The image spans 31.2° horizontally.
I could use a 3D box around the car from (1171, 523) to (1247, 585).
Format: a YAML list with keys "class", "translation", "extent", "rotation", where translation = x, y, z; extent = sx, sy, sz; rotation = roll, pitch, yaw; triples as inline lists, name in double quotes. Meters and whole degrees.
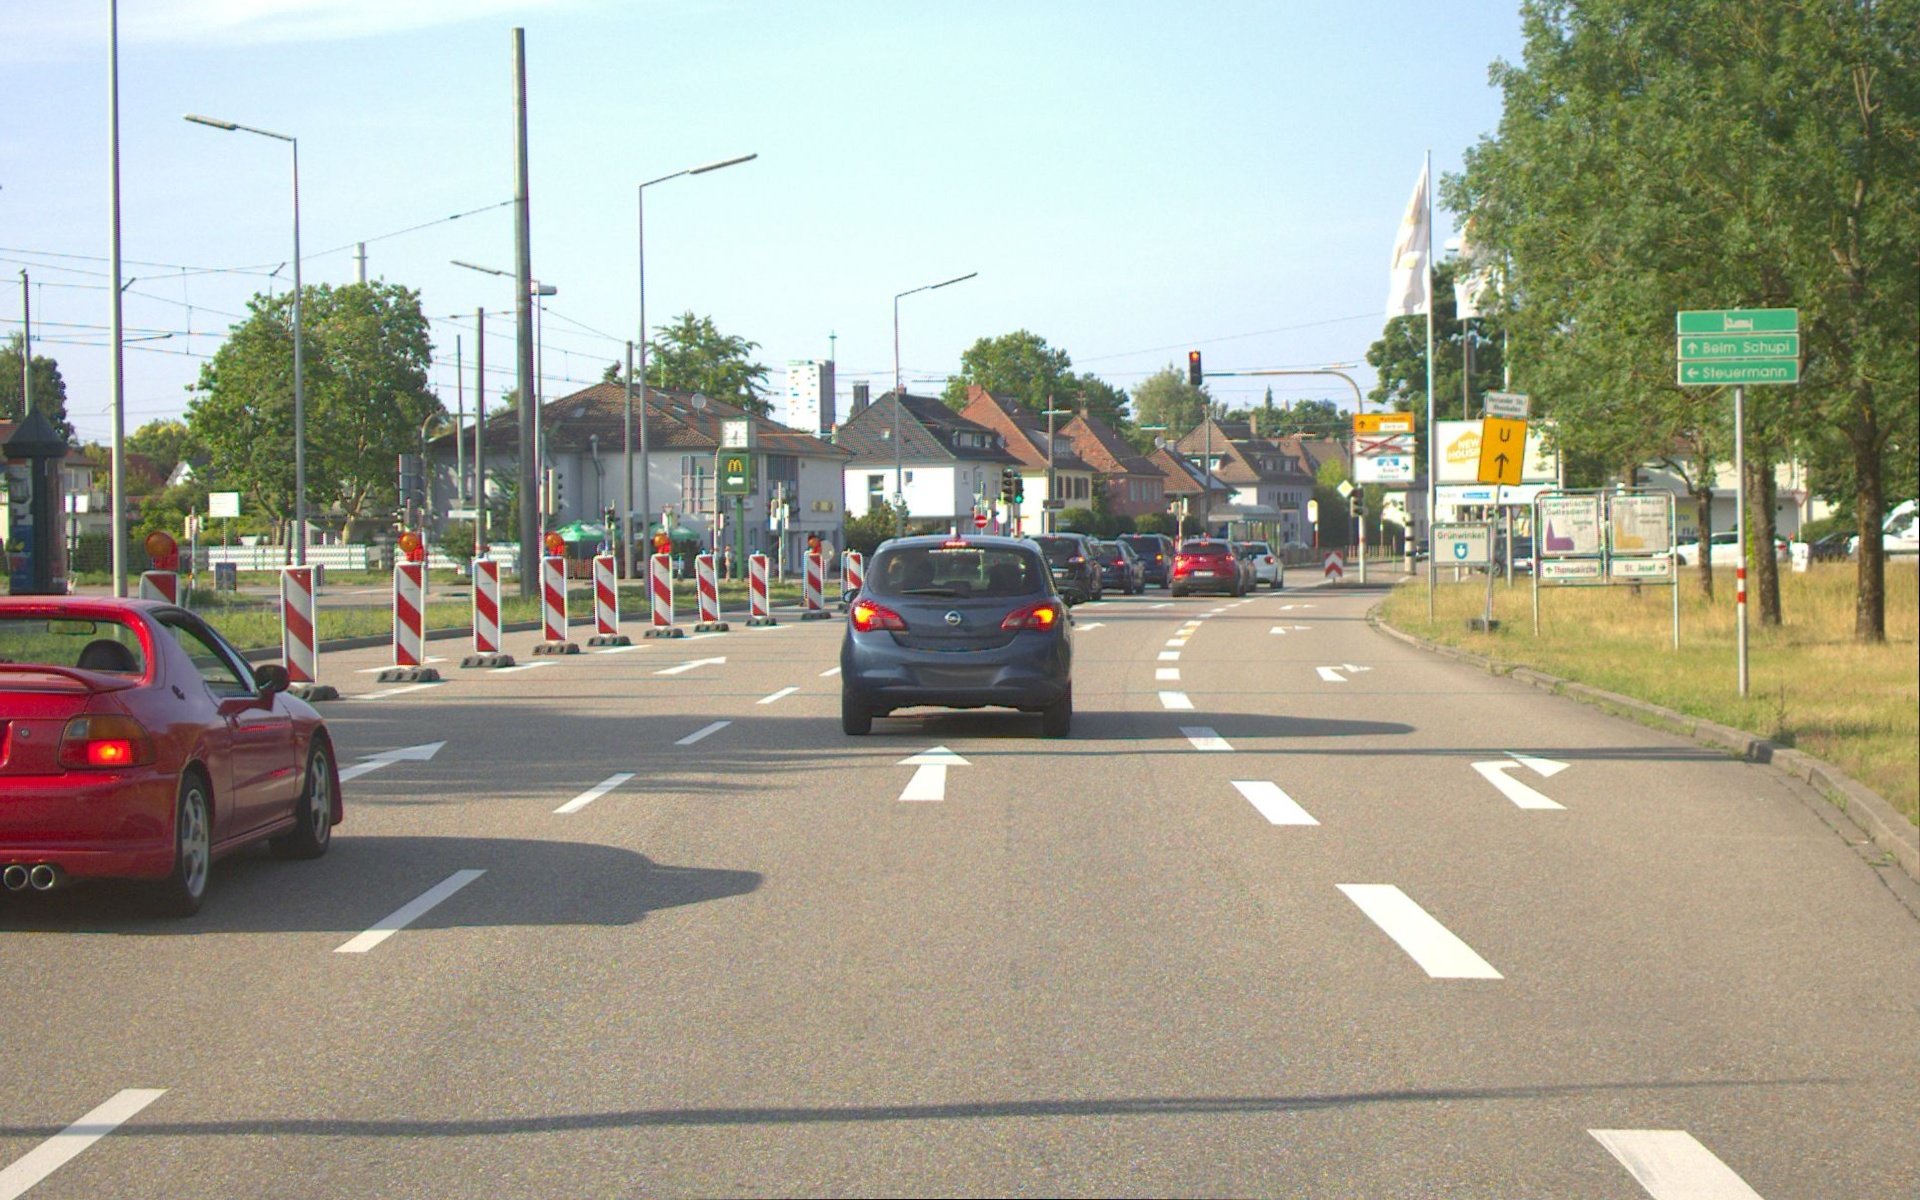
- class: "car"
  translation: [6.569, -1.223, 90.388]
  extent: [1.707, 1.546, 3.976]
  rotation: [-1, 1, 8]

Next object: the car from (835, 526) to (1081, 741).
- class: "car"
  translation: [0.058, 0.194, 26.700]
  extent: [1.742, 1.500, 4.223]
  rotation: [-1, 1, 2]

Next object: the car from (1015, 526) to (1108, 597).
- class: "car"
  translation: [2.490, -0.950, 83.269]
  extent: [1.764, 1.665, 4.083]
  rotation: [0, 1, 9]

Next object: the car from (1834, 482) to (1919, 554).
- class: "car"
  translation: [34.956, -2.997, 124.609]
  extent: [6.211, 2.574, 1.999]
  rotation: [0, 1, 11]

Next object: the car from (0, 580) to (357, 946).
- class: "car"
  translation: [-3.740, 0.570, 14.198]
  extent: [1.731, 1.202, 3.847]
  rotation: [1, 1, 1]

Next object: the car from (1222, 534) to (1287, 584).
- class: "car"
  translation: [8.885, -1.238, 103.450]
  extent: [1.657, 1.438, 4.013]
  rotation: [-1, 1, 9]

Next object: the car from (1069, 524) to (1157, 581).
- class: "car"
  translation: [4.203, -1.308, 93.982]
  extent: [1.700, 1.503, 4.551]
  rotation: [0, 1, 12]

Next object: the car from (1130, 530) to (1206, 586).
- class: "car"
  translation: [6.337, -1.297, 104.396]
  extent: [1.507, 1.645, 4.741]
  rotation: [-1, 1, 13]

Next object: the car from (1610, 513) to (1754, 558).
- class: "car"
  translation: [26.531, -2.356, 126.374]
  extent: [5.097, 1.557, 1.839]
  rotation: [-1, 1, 12]
